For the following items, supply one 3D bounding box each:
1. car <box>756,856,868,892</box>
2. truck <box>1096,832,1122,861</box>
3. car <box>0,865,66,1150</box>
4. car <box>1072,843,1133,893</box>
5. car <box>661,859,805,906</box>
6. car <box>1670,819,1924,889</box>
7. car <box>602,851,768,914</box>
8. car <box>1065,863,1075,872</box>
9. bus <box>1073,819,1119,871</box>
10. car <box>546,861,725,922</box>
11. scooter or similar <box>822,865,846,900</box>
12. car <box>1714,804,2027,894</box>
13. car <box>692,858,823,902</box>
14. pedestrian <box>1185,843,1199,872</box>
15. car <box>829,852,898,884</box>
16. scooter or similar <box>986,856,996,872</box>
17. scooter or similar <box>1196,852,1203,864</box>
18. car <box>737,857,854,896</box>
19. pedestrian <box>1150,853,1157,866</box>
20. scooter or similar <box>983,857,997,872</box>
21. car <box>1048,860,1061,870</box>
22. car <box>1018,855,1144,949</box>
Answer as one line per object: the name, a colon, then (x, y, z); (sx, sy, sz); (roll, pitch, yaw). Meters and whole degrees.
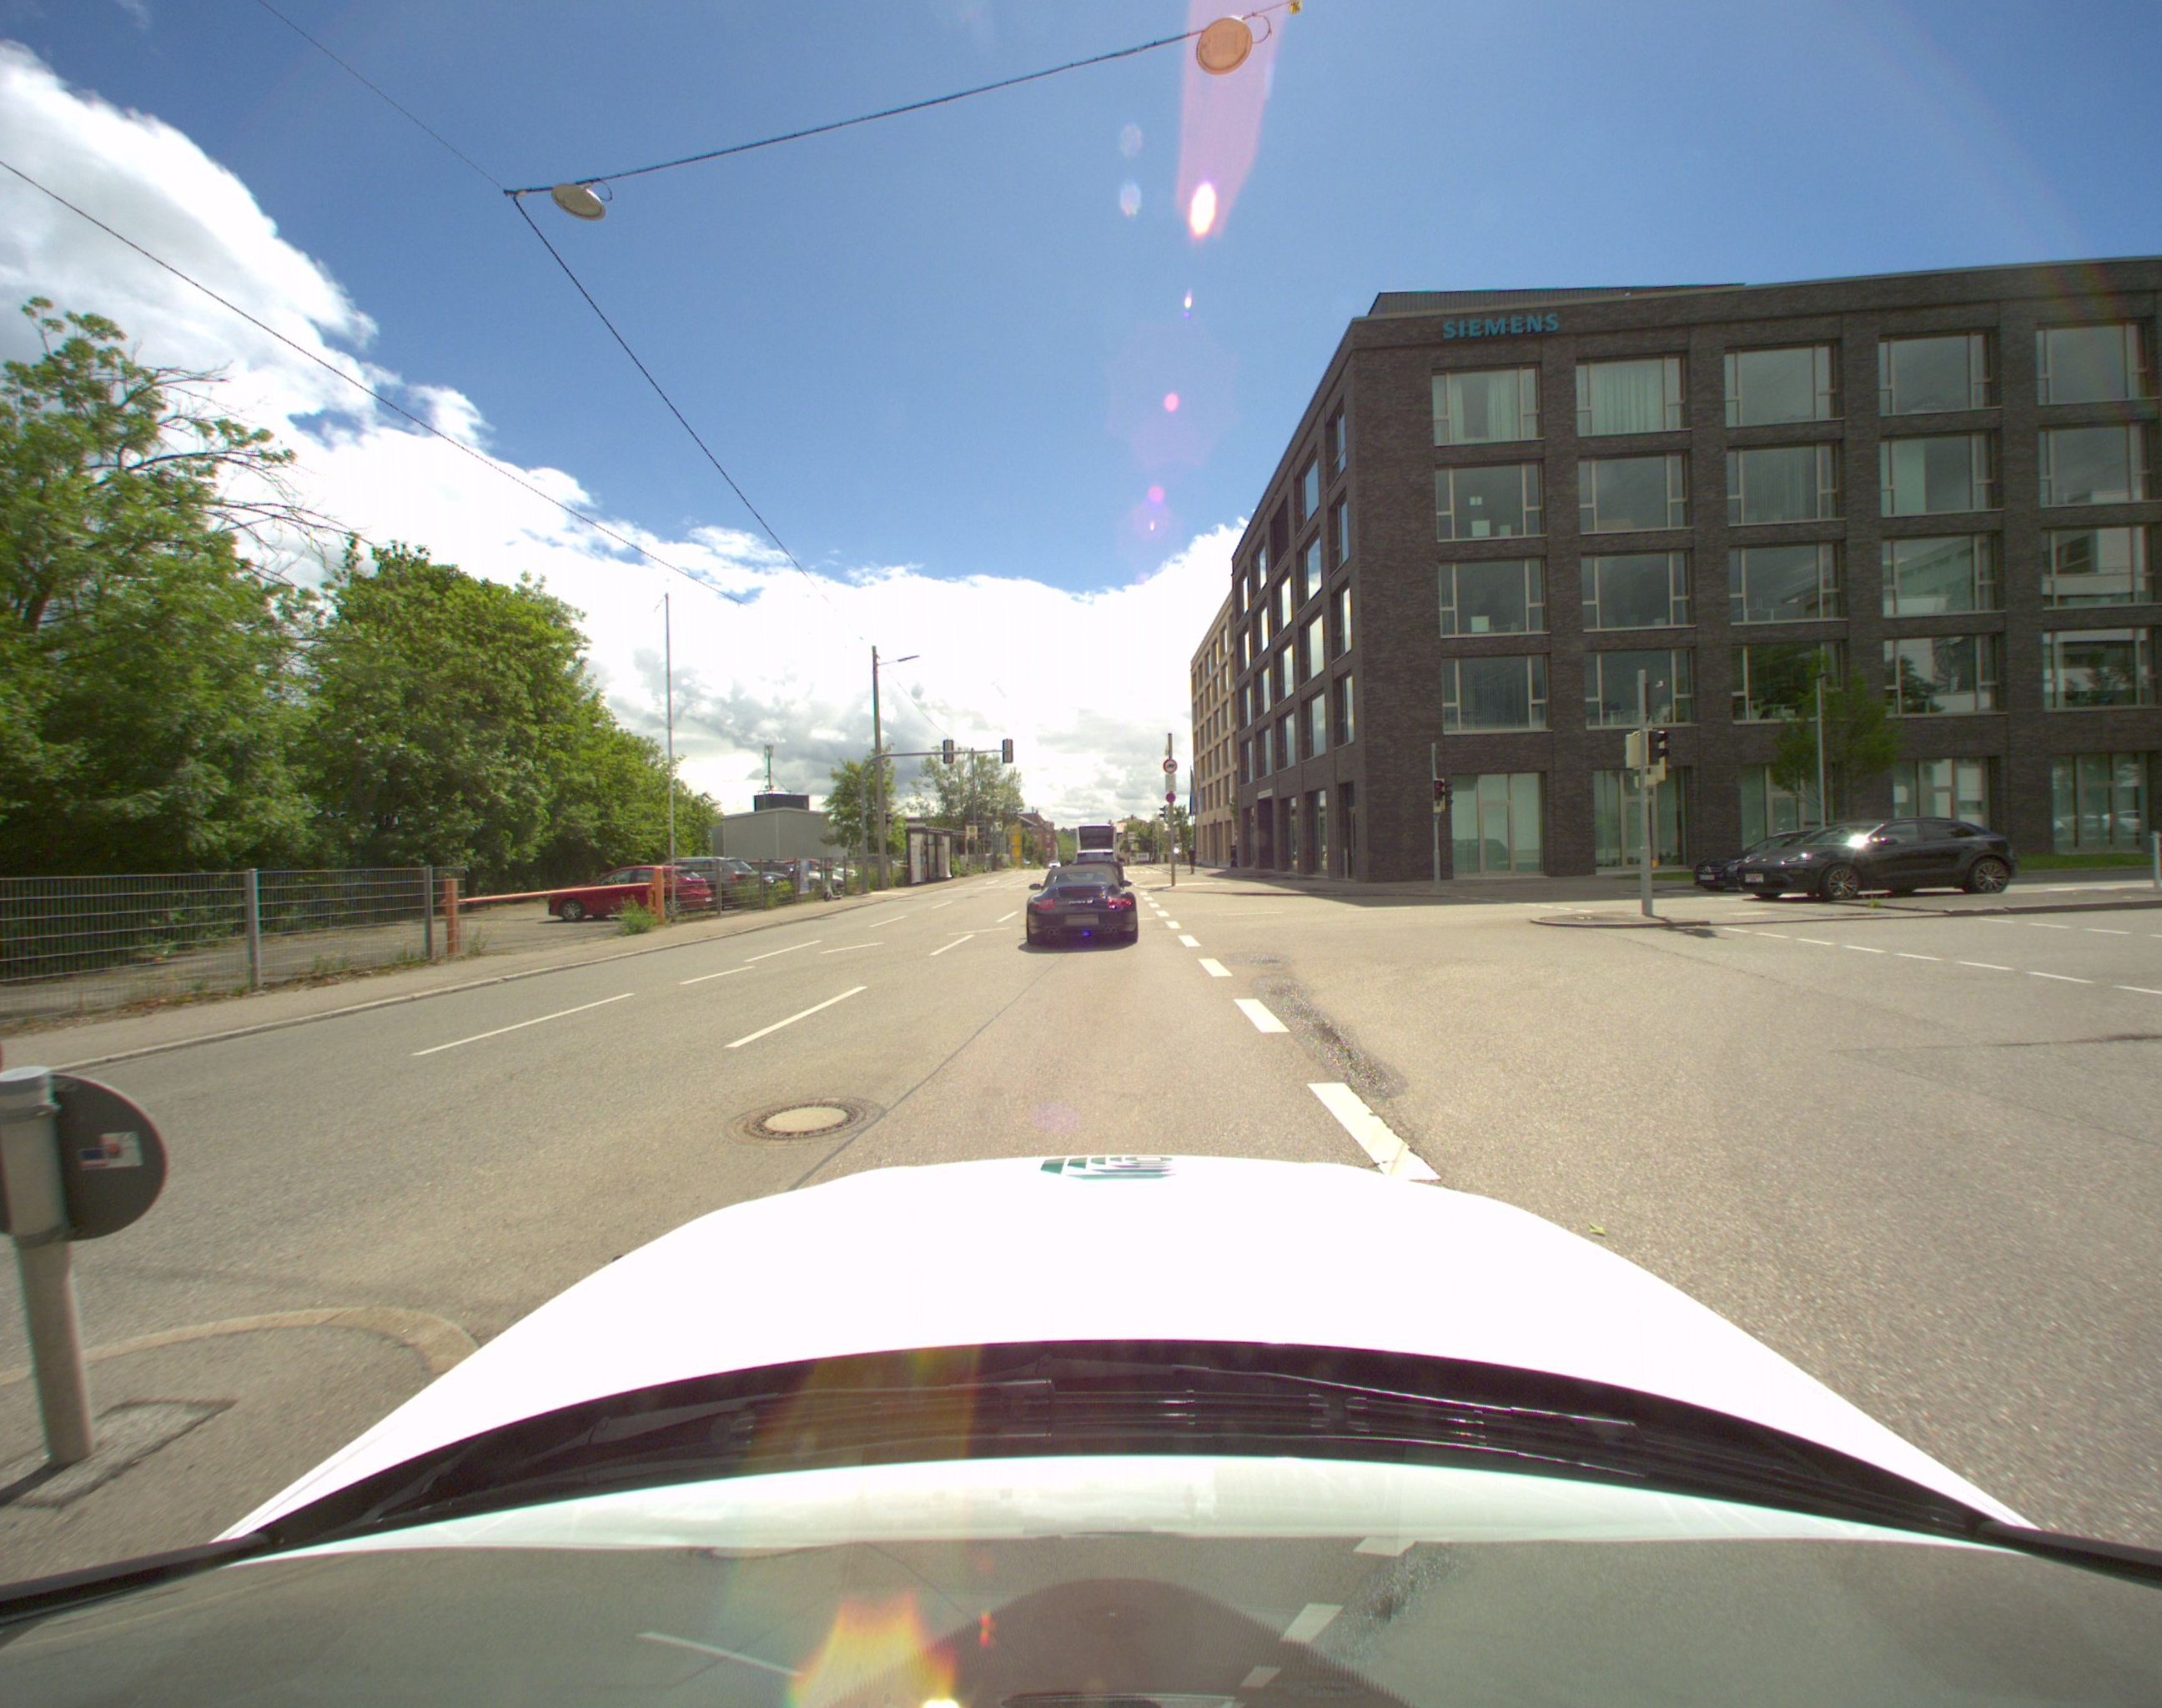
car: (-12.090, 0.874, 36.821); (4.293, 1.419, 2.026); (-2, 0, 2)
truck: (3.150, -0.802, 92.554); (2.704, 3.054, 7.713); (-2, 0, 1)
car: (-7.149, 0.942, 2.809); (1.923, 1.599, 4.155); (-4, 0, 2)
car: (0.673, 0.453, 28.434); (1.925, 1.583, 4.205); (-2, 0, -1)
car: (-12.054, 0.959, 28.409); (4.089, 1.419, 2.000); (-2, 0, 0)
car: (17.680, 0.010, 20.299); (4.508, 1.492, 2.001); (-2, -1, 1)
car: (-12.205, 0.845, 25.313); (4.094, 1.734, 1.998); (-2, 0, -4)
car: (-2.095, 2.588, 151.790); (1.824, 1.509, 4.274); (-2, -2, -1)
bus: (1.174, -0.604, 57.011); (2.791, 3.198, 12.203); (-1, 0, 2)
car: (-12.197, 0.991, 22.534); (3.849, 1.419, 1.898); (-2, 0, -8)
scooter or similar: (-8.924, 1.022, 29.452); (0.421, 1.210, 1.128); (0, 0, 6)
car: (16.420, -0.112, 17.130); (4.624, 1.618, 2.000); (-2, 0, 0)
car: (-12.159, 0.951, 30.819); (4.092, 1.419, 1.998); (-2, 0, -2)
pedestrian: (6.782, 0.192, 49.751); (0.681, 1.728, 0.962); (-1, 0, 0)
car: (-14.937, 0.951, 56.187); (4.271, 2.014, 2.136); (-2, -1, -7)
scooter or similar: (-7.478, 0.841, 67.822); (0.532, 1.266, 1.474); (0, 0, 6)
scooter or similar: (11.116, 0.370, 76.388); (0.425, 1.153, 1.403); (-2, -1, 1)
car: (-11.767, 0.917, 33.776); (4.088, 1.419, 1.917); (-2, 0, 1)
pedestrian: (8.715, 0.637, 97.849); (0.685, 1.536, 0.856); (-2, -1, 0)
scooter or similar: (-7.415, 0.848, 66.323); (0.530, 1.262, 1.478); (0, 0, 18)
car: (-4.081, 1.761, 126.589); (1.790, 1.376, 4.224); (-3, 0, 0)
car: (0.070, 0.759, 14.796); (1.923, 1.376, 4.210); (-1, 0, 2)
